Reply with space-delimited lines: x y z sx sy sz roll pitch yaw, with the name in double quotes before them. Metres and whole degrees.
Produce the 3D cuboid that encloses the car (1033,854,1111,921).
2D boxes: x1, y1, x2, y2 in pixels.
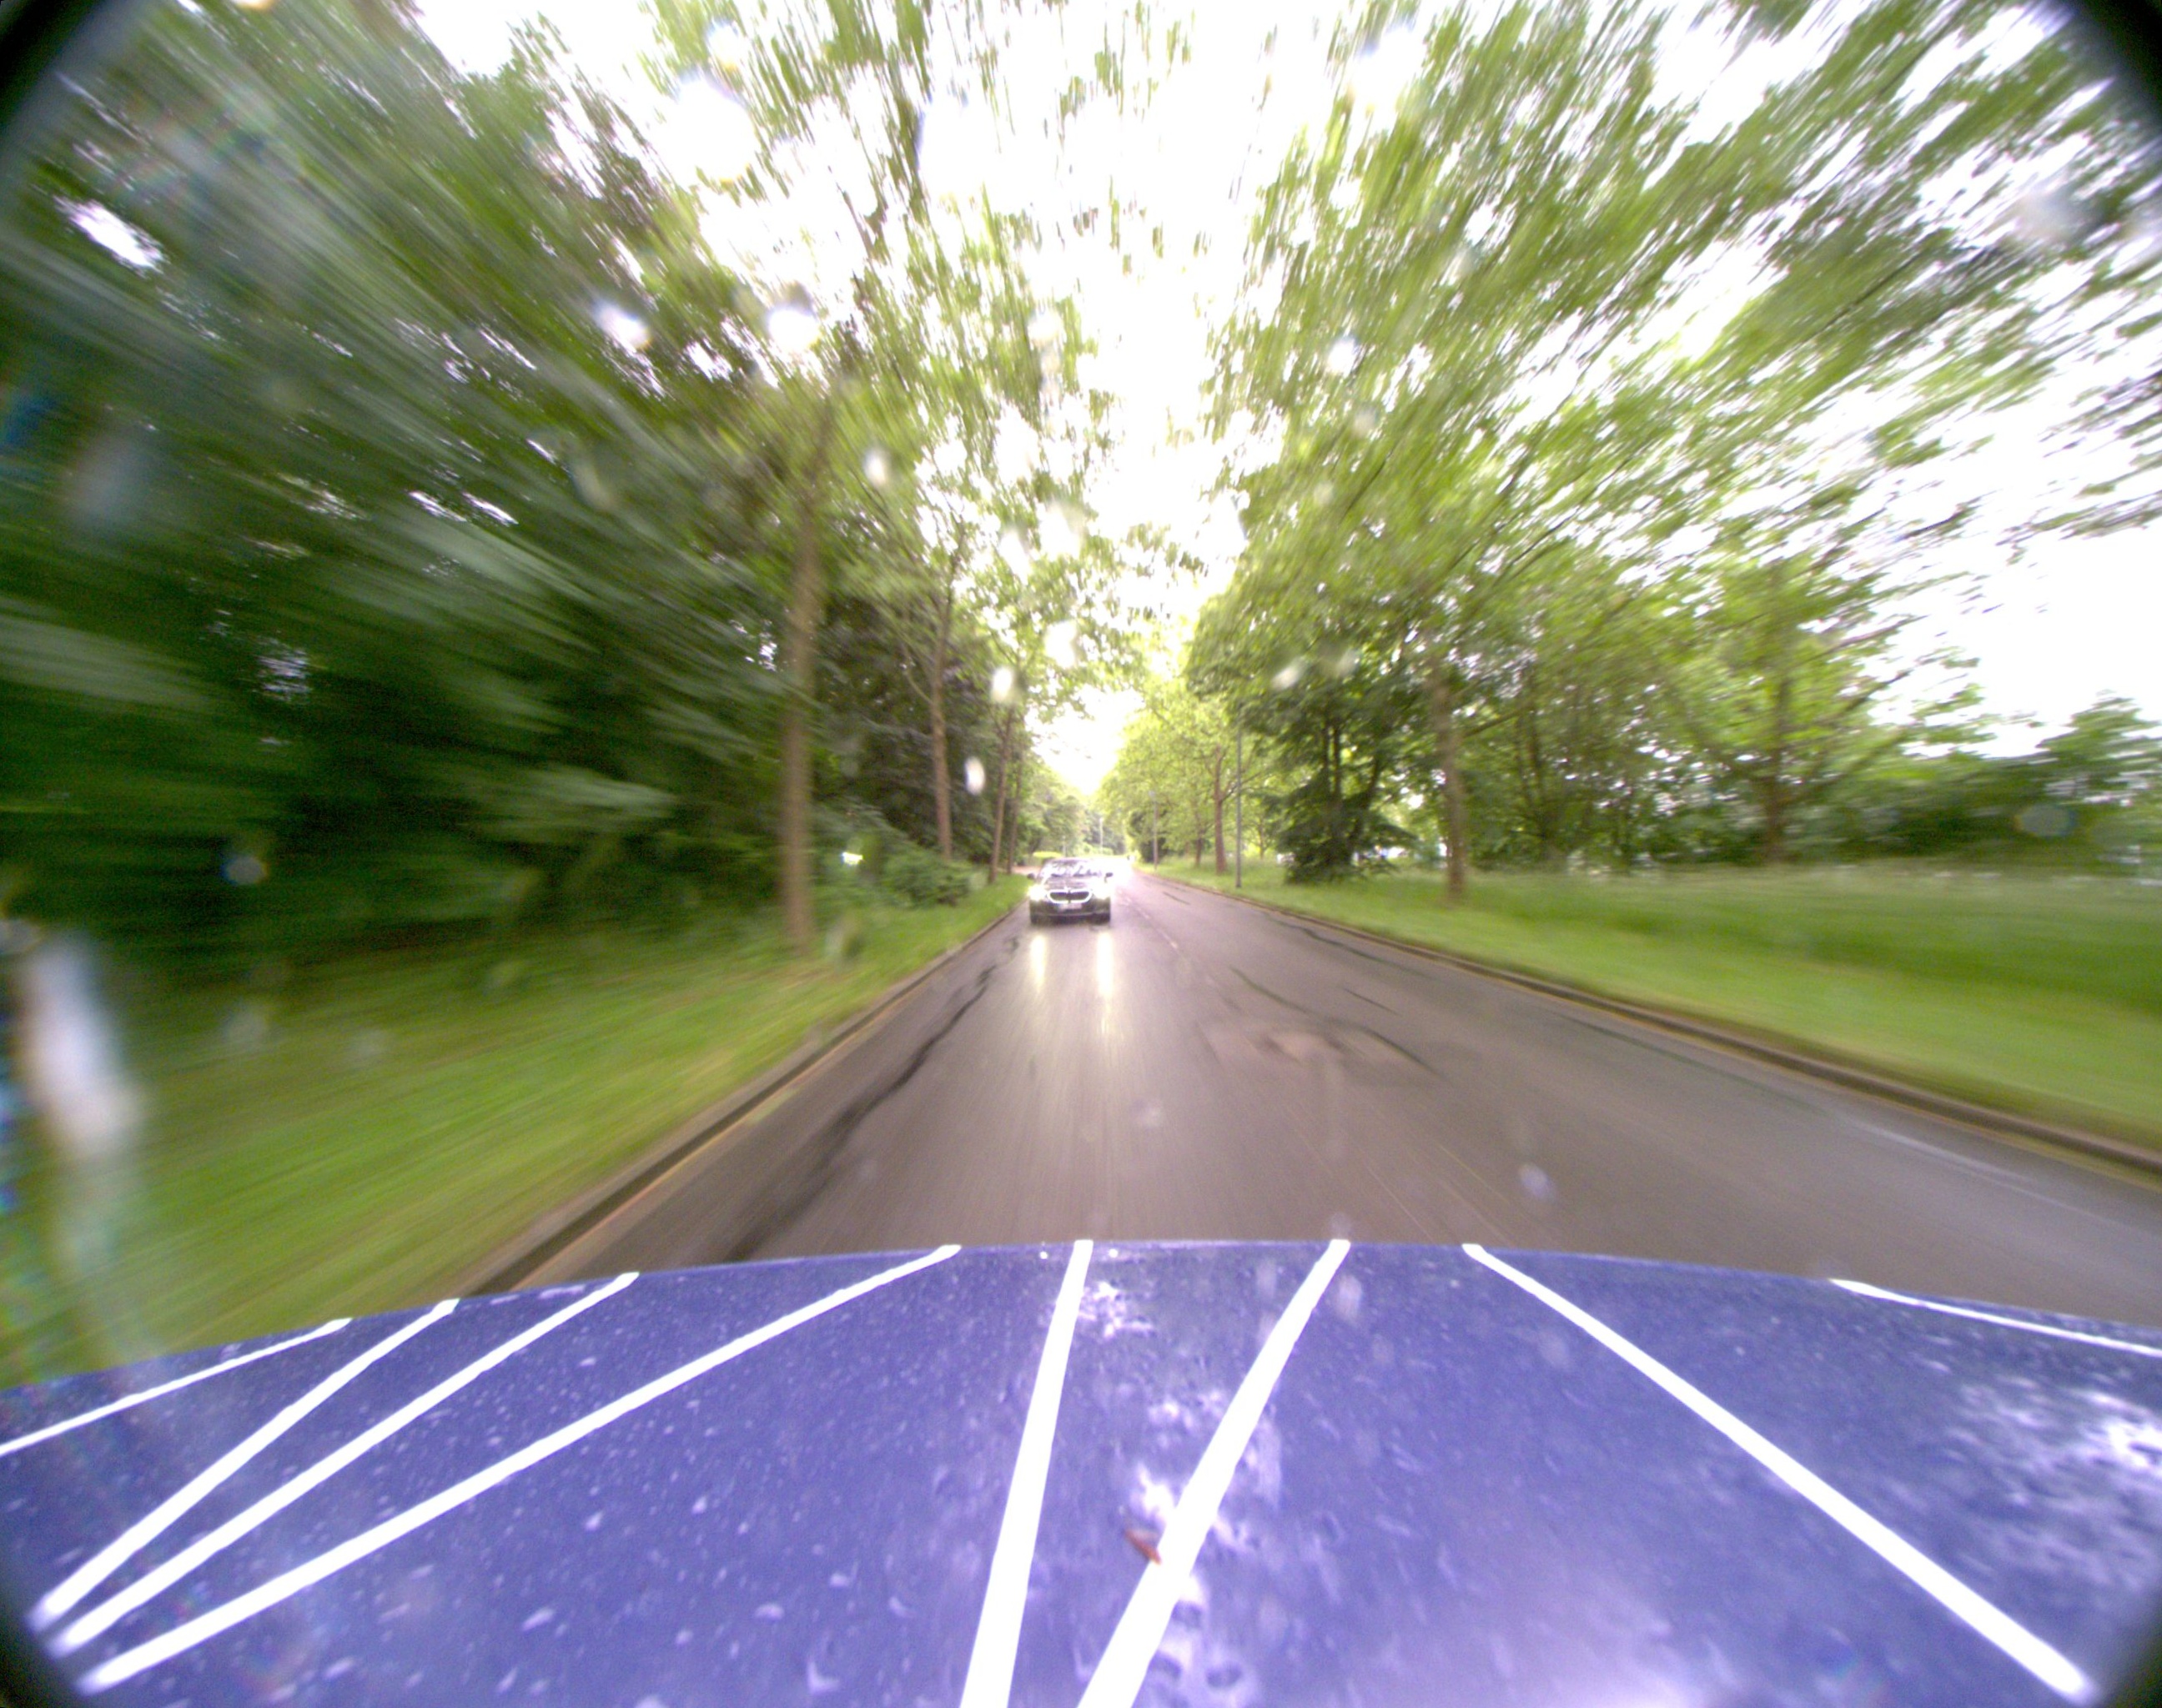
"car" -0.171 0.809 20.627 1.832 1.499 4.498 -3 0 1
